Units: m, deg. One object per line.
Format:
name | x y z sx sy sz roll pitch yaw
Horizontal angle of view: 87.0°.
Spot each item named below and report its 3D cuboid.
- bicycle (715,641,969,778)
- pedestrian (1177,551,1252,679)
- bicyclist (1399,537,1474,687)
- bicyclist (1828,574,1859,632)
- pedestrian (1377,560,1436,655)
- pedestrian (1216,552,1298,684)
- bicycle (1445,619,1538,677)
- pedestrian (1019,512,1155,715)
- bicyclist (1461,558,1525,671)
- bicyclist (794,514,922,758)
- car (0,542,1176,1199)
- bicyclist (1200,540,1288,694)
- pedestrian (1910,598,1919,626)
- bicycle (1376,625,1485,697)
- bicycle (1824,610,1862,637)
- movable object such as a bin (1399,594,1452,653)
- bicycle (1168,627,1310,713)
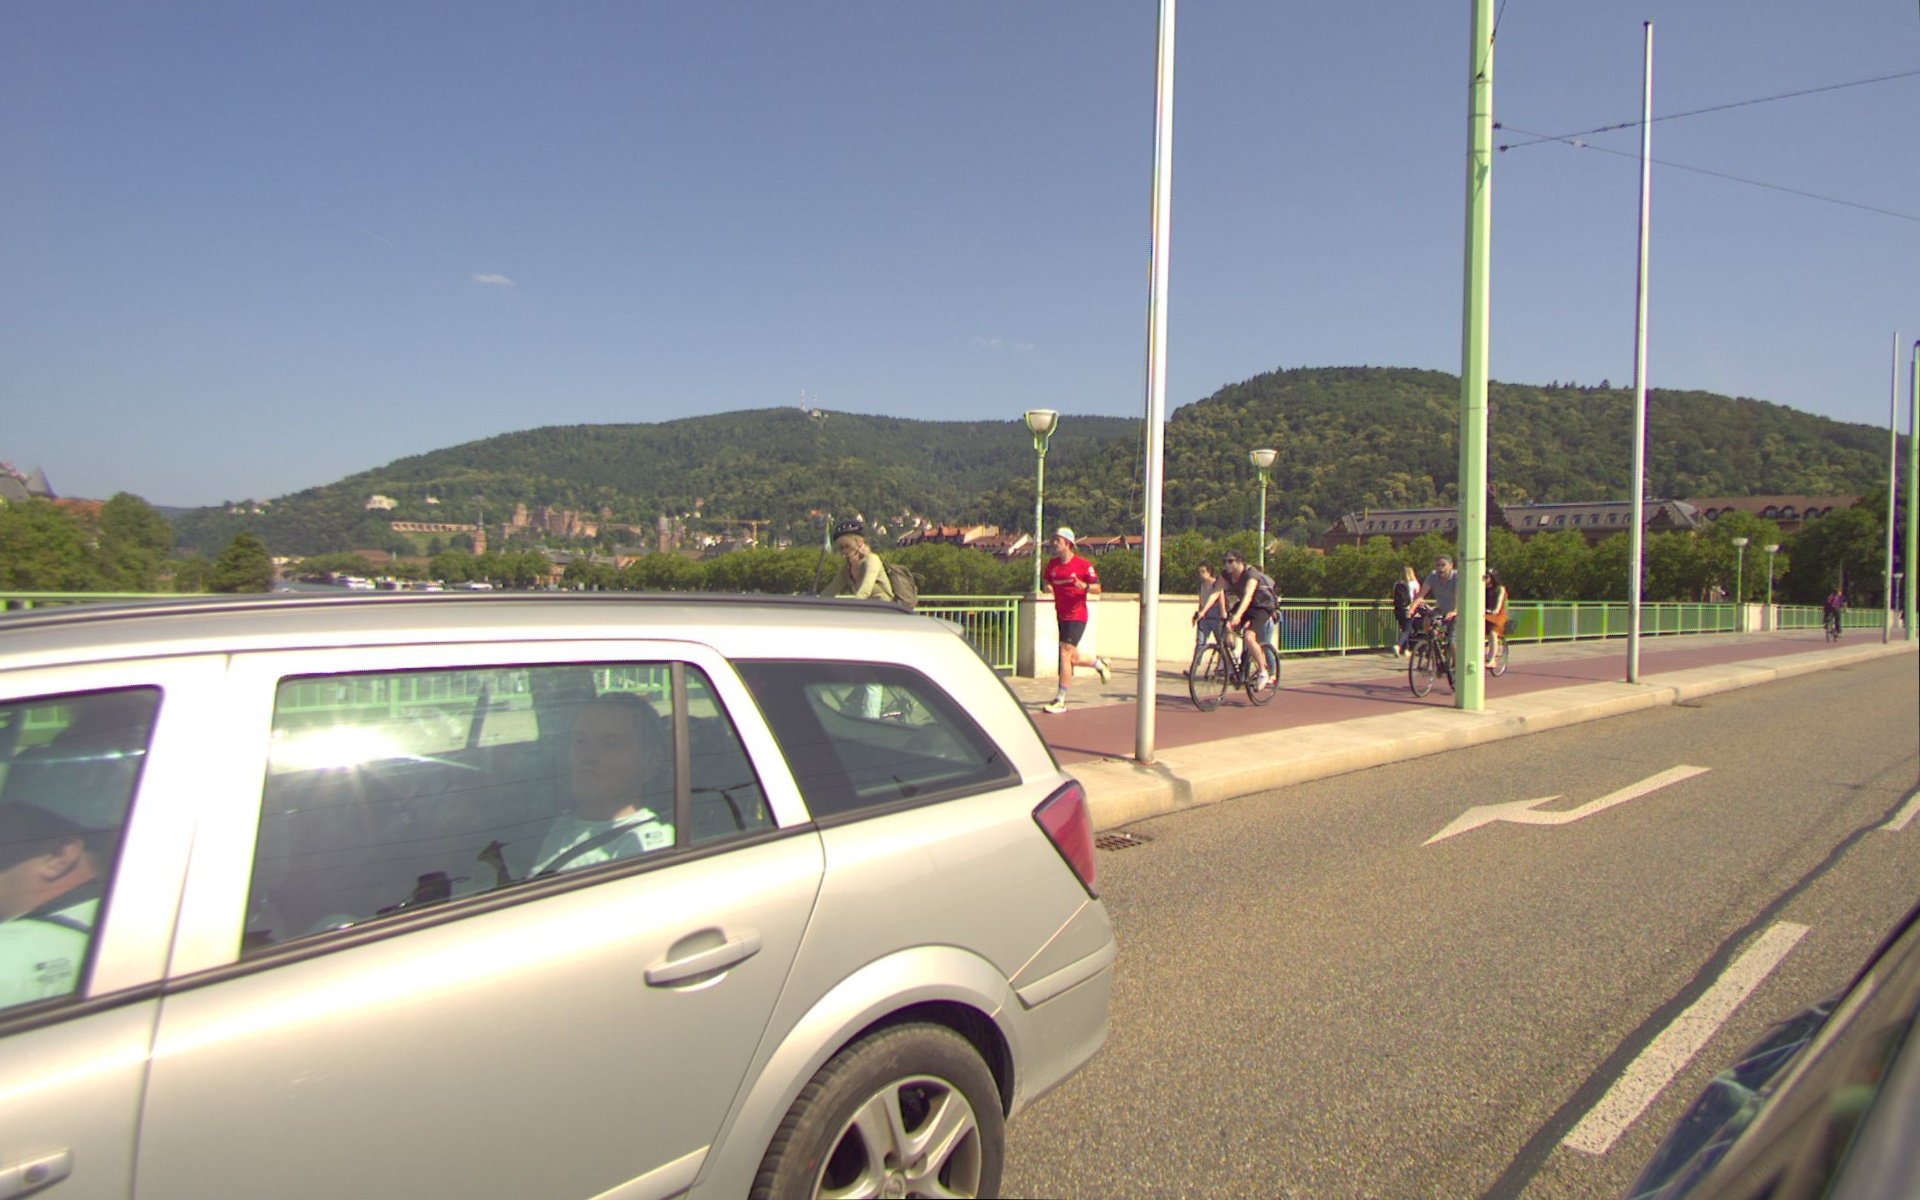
bicycle | -0.808 0.740 7.361 1.835 0.775 0.594 0 2 -43
pedestrian | 3.491 0.186 13.883 0.733 1.679 0.668 0 2 -41
bicyclist | 6.054 0.136 12.850 0.690 1.842 0.587 0 2 -42
bicyclist | 27.818 0.086 31.849 0.660 1.791 0.587 0 1 -40
pedestrian | 8.391 0.119 19.017 0.844 1.727 0.664 0 2 -41
pedestrian | 3.921 0.214 13.352 0.810 1.679 0.664 0 2 -41
bicycle | 8.173 0.716 15.537 1.833 0.775 0.595 0 2 -40
pedestrian | 1.307 0.108 10.380 1.108 1.948 0.812 0 2 -41
bicyclist | 8.169 0.203 15.510 0.689 1.671 0.606 0 2 -39
bicyclist | -0.747 0.234 7.394 0.690 1.671 0.587 0 2 -42
car | -1.628 0.677 1.730 4.250 1.484 1.708 0 0 -41
bicyclist | 3.034 0.163 10.824 0.690 1.578 0.587 0 2 -42
pedestrian | 58.120 0.723 61.086 1.063 1.683 0.949 0 3 -41
bicycle | 5.980 0.740 12.814 1.835 0.775 0.594 0 2 -43
bicycle | 27.809 0.739 31.864 1.833 0.775 0.595 0 2 -40
movable object such as a bin | 9.005 0.441 19.581 0.917 1.104 0.583 0 2 -41
bicycle | 3.014 0.714 10.829 1.800 0.775 0.594 0 2 -43
